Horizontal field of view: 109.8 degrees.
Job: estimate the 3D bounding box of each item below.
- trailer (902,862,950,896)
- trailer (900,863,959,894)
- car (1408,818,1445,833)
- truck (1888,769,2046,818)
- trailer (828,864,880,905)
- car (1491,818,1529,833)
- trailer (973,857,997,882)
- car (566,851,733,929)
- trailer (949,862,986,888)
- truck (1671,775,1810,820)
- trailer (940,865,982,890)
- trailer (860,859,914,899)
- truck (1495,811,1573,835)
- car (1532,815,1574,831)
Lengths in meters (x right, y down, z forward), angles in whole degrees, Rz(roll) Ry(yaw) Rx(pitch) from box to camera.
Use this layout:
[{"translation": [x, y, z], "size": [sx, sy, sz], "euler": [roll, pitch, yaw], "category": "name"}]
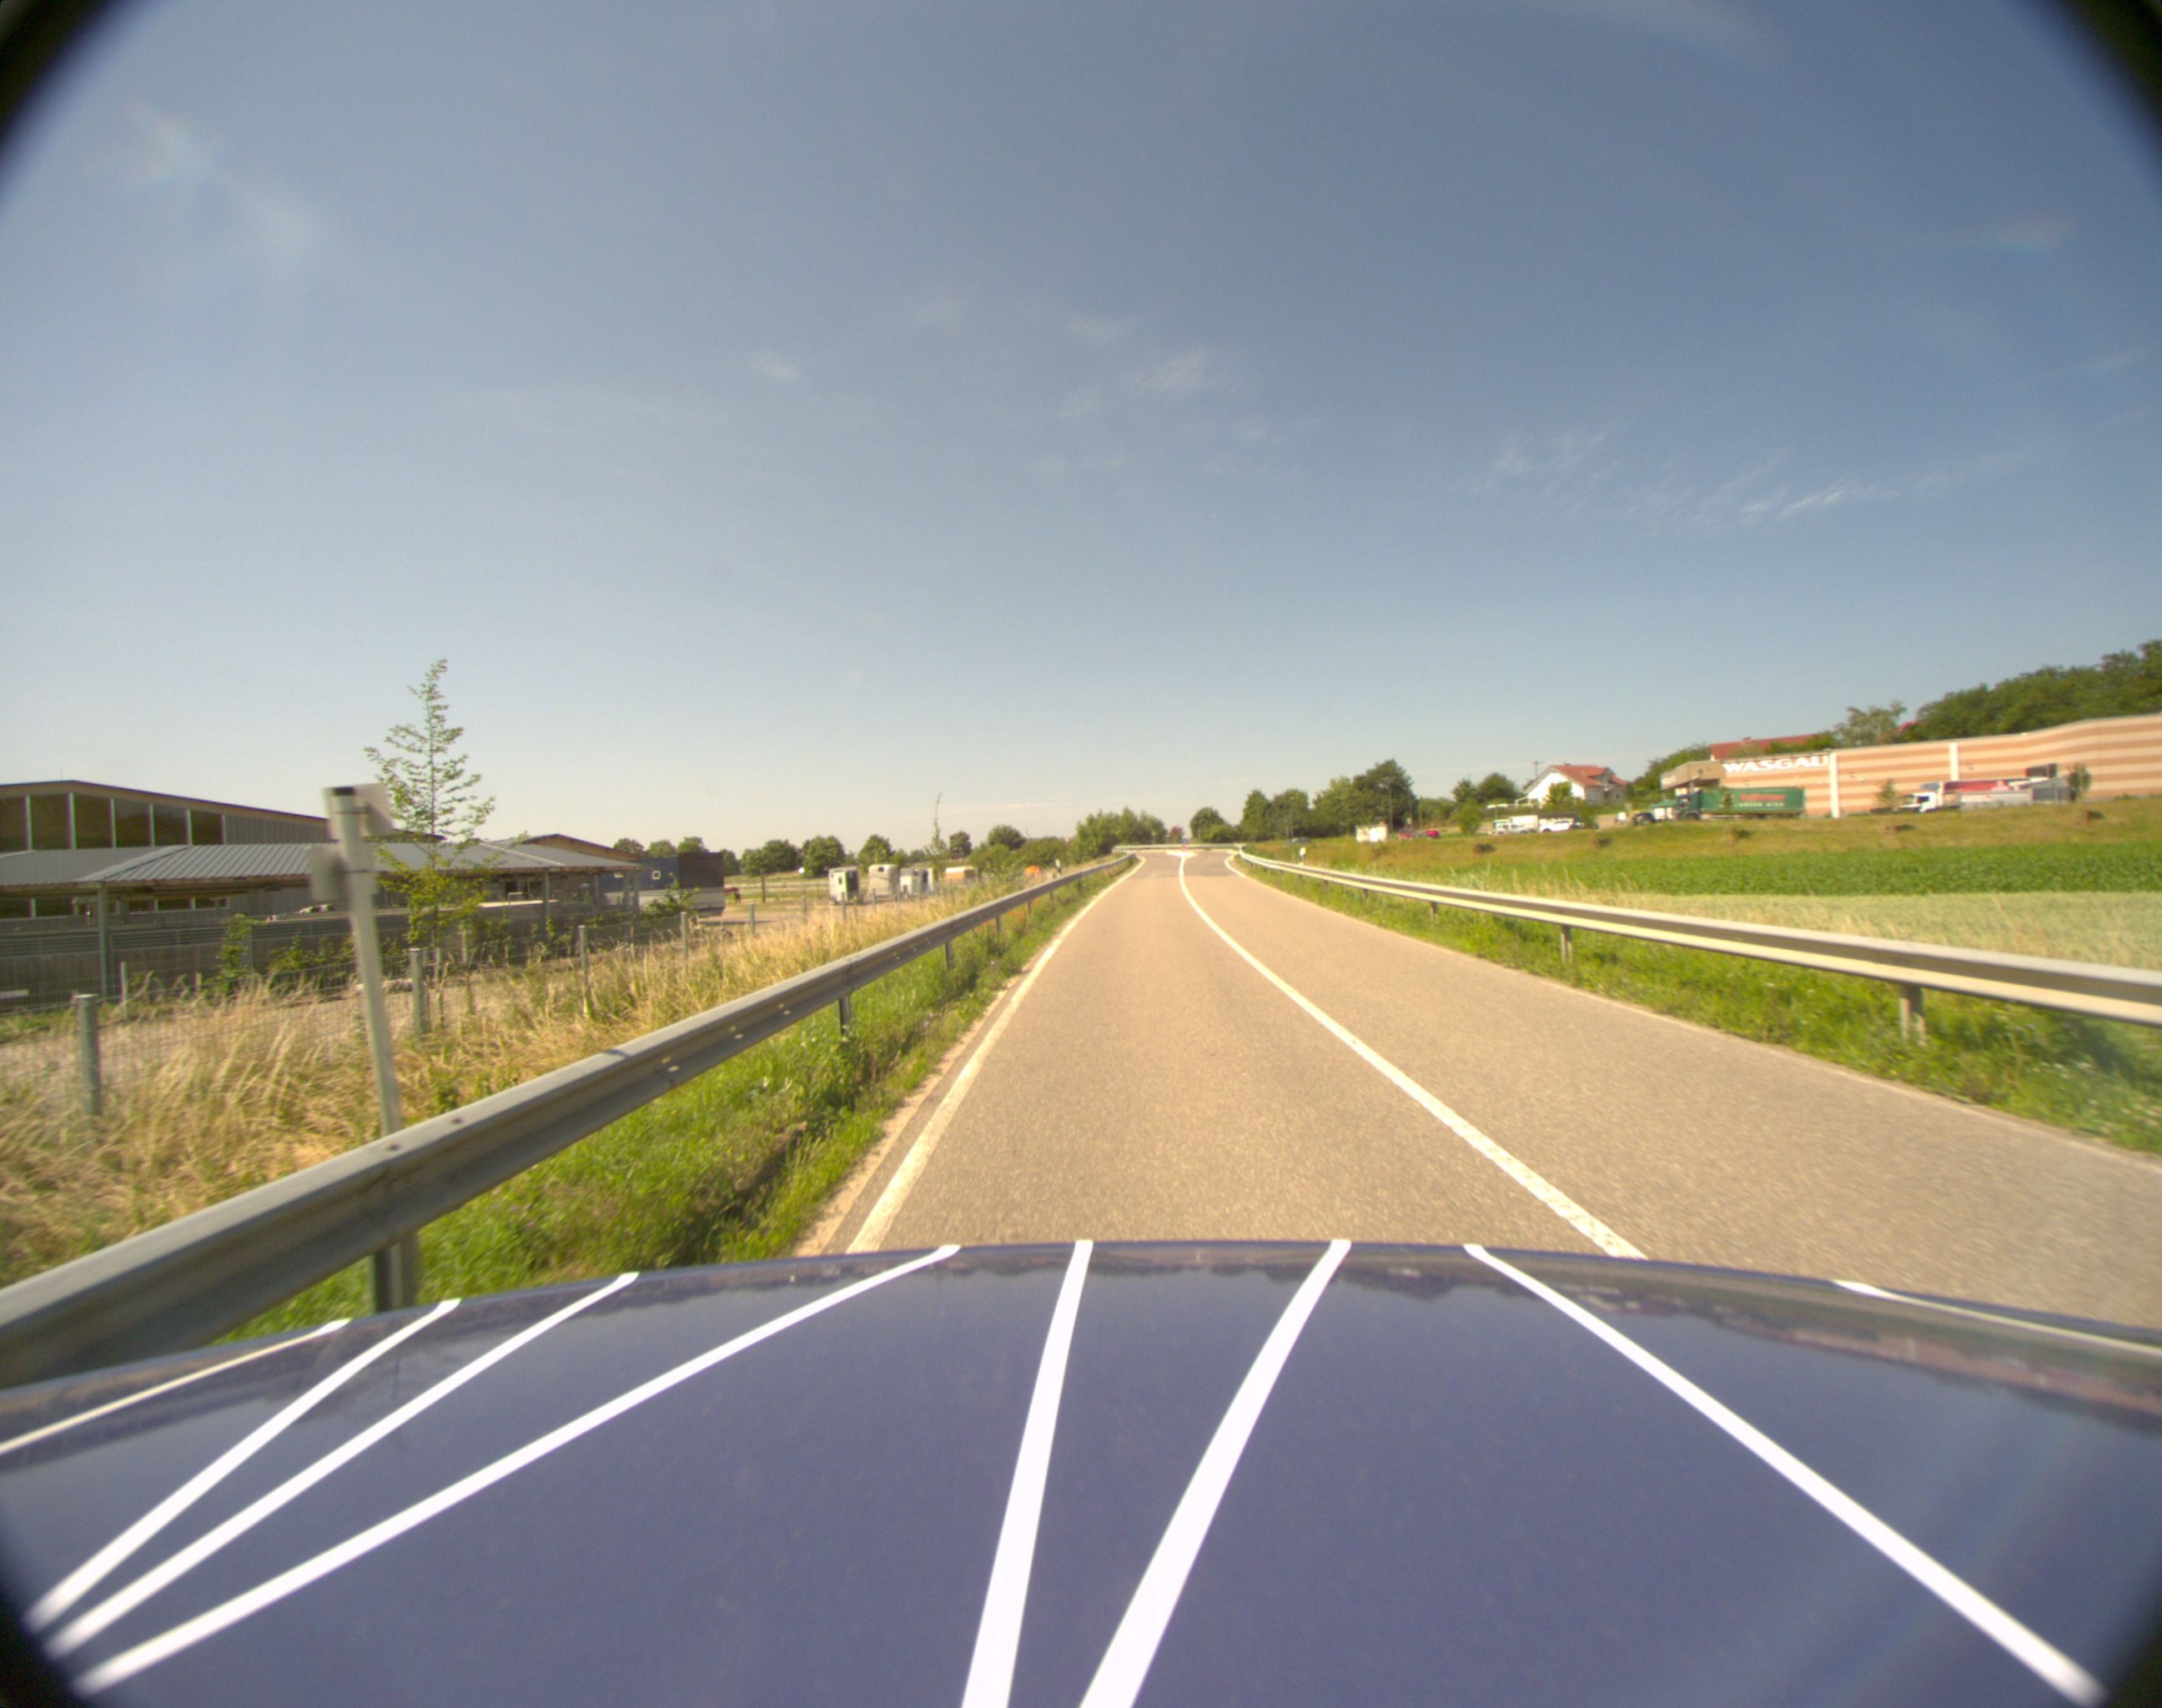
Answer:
[{"translation": [-12.523, 2.032, 61.048], "size": [1.830, 2.613, 4.541], "euler": [1, -3, -40], "category": "trailer"}, {"translation": [-14.468, 2.325, 72.356], "size": [5.175, 2.672, 2.212], "euler": [-3, 0, 29], "category": "trailer"}, {"translation": [47.679, -3.907, 104.816], "size": [4.322, 1.694, 2.003], "euler": [-3, 2, 32], "category": "car"}, {"translation": [80.134, -5.402, 69.015], "size": [8.860, 3.544, 2.882], "euler": [-3, 2, 31], "category": "truck"}, {"translation": [-16.377, 2.140, 54.657], "size": [2.179, 2.655, 4.469], "euler": [-3, 2, -36], "category": "trailer"}, {"translation": [58.464, -3.892, 103.592], "size": [4.323, 1.589, 2.003], "euler": [-3, 2, 28], "category": "car"}, {"translation": [-11.880, 1.964, 93.911], "size": [2.001, 2.788, 3.374], "euler": [-8, 0, -18], "category": "trailer"}, {"translation": [-22.502, 1.907, 39.494], "size": [8.975, 3.631, 2.784], "euler": [-3, 0, 26], "category": "car"}, {"translation": [-13.031, 2.396, 87.395], "size": [3.412, 2.789, 2.168], "euler": [-3, 1, 27], "category": "trailer"}, {"translation": [64.290, -5.433, 74.430], "size": [9.916, 3.458, 2.883], "euler": [-3, 2, 35], "category": "truck"}, {"translation": [-13.236, 2.629, 83.667], "size": [4.083, 2.376, 2.010], "euler": [-5, 0, 36], "category": "trailer"}, {"translation": [-15.012, 1.910, 58.621], "size": [2.238, 2.847, 5.032], "euler": [-2, 0, -36], "category": "trailer"}, {"translation": [74.642, -5.138, 125.315], "size": [10.701, 3.173, 2.449], "euler": [-4, 2, 15], "category": "truck"}, {"translation": [58.307, -3.855, 93.918], "size": [4.322, 1.694, 2.003], "euler": [-3, 2, 29], "category": "car"}]
